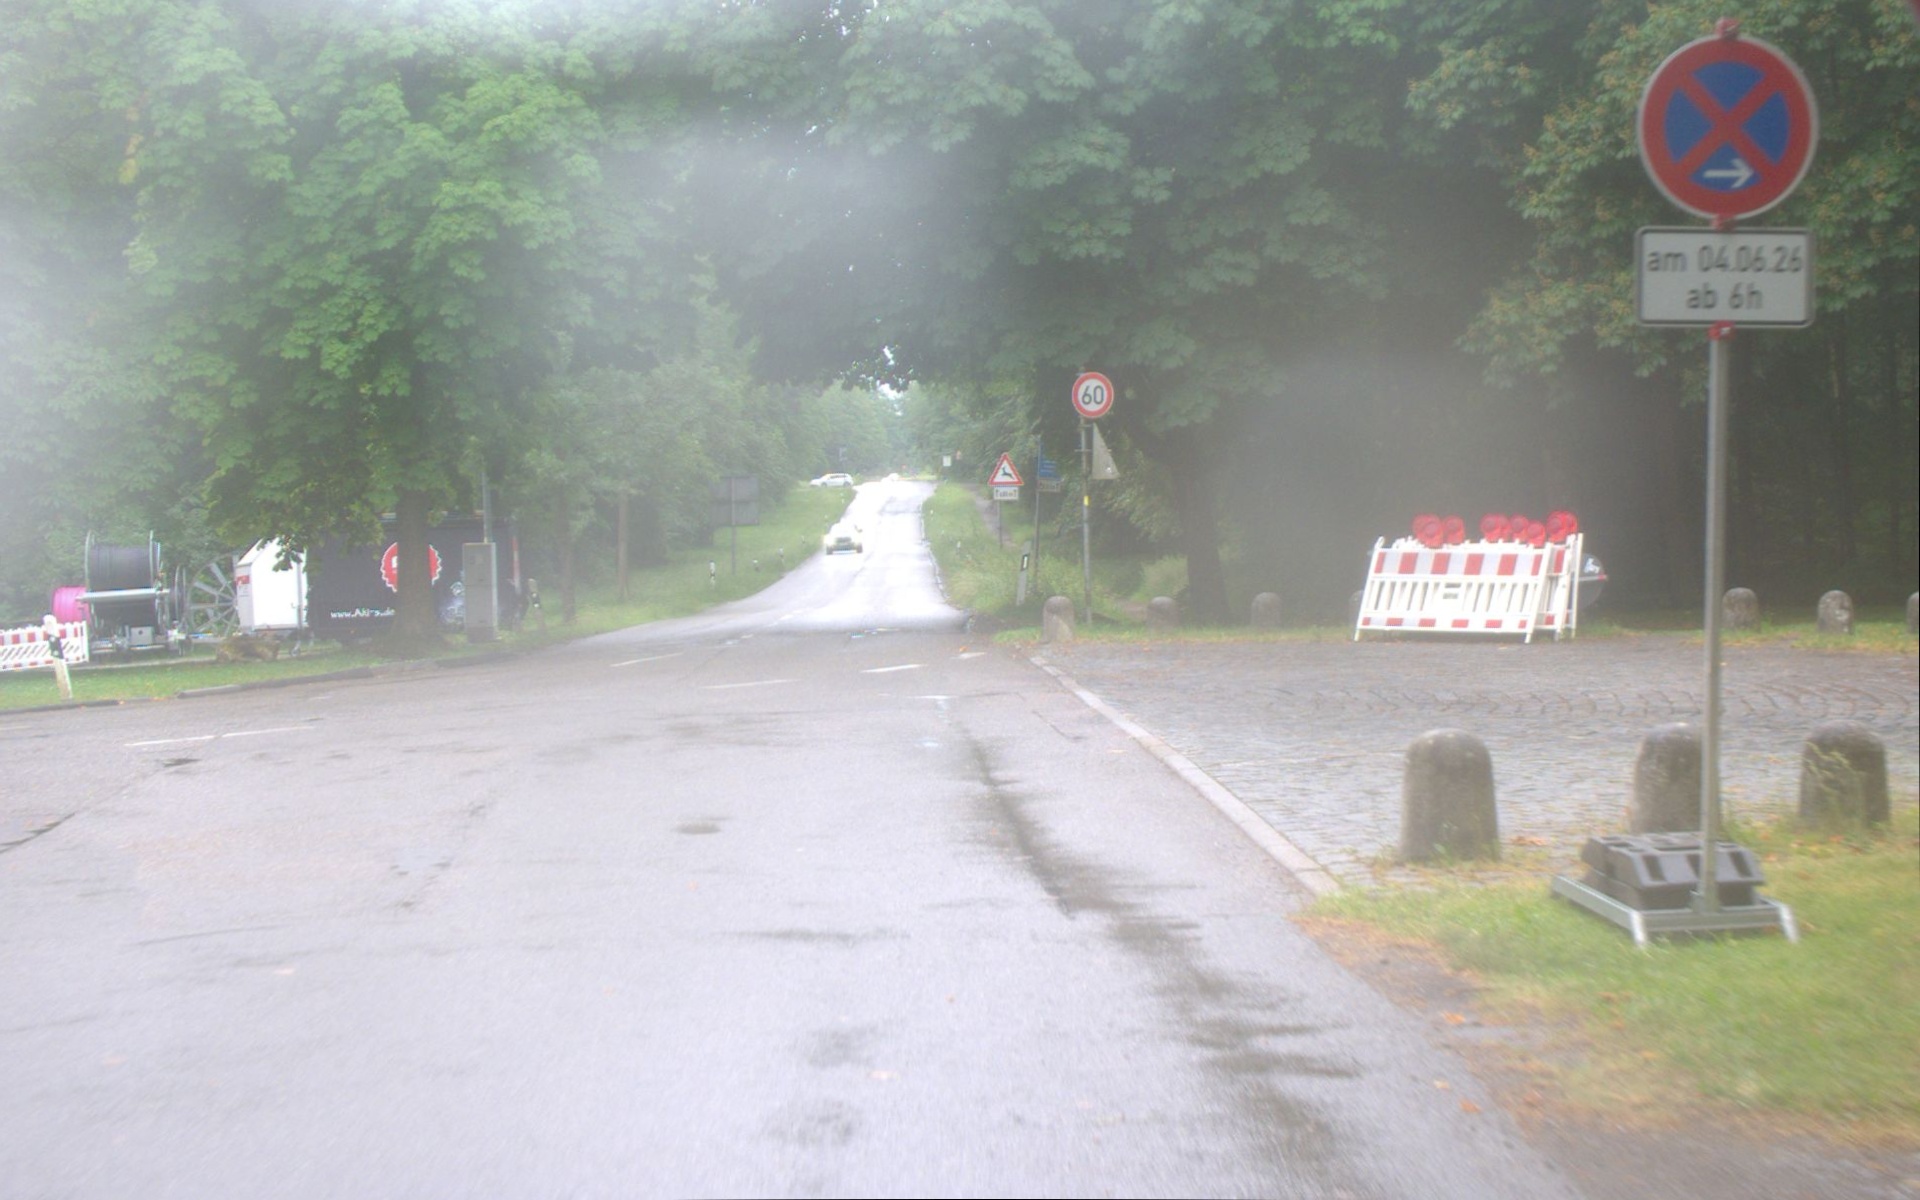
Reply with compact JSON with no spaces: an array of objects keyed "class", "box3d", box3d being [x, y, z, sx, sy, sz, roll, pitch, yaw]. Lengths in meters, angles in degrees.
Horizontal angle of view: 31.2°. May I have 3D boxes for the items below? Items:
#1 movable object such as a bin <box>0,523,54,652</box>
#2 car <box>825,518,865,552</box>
[{"class":"movable object such as a bin","box3d":[-26.314,-0.266,90.135,4.580,3.282,3.667,-3,1,-11]},{"class":"car","box3d":[-6.138,-3.470,183.290,1.993,1.711,4.000,-2,1,-1]}]
